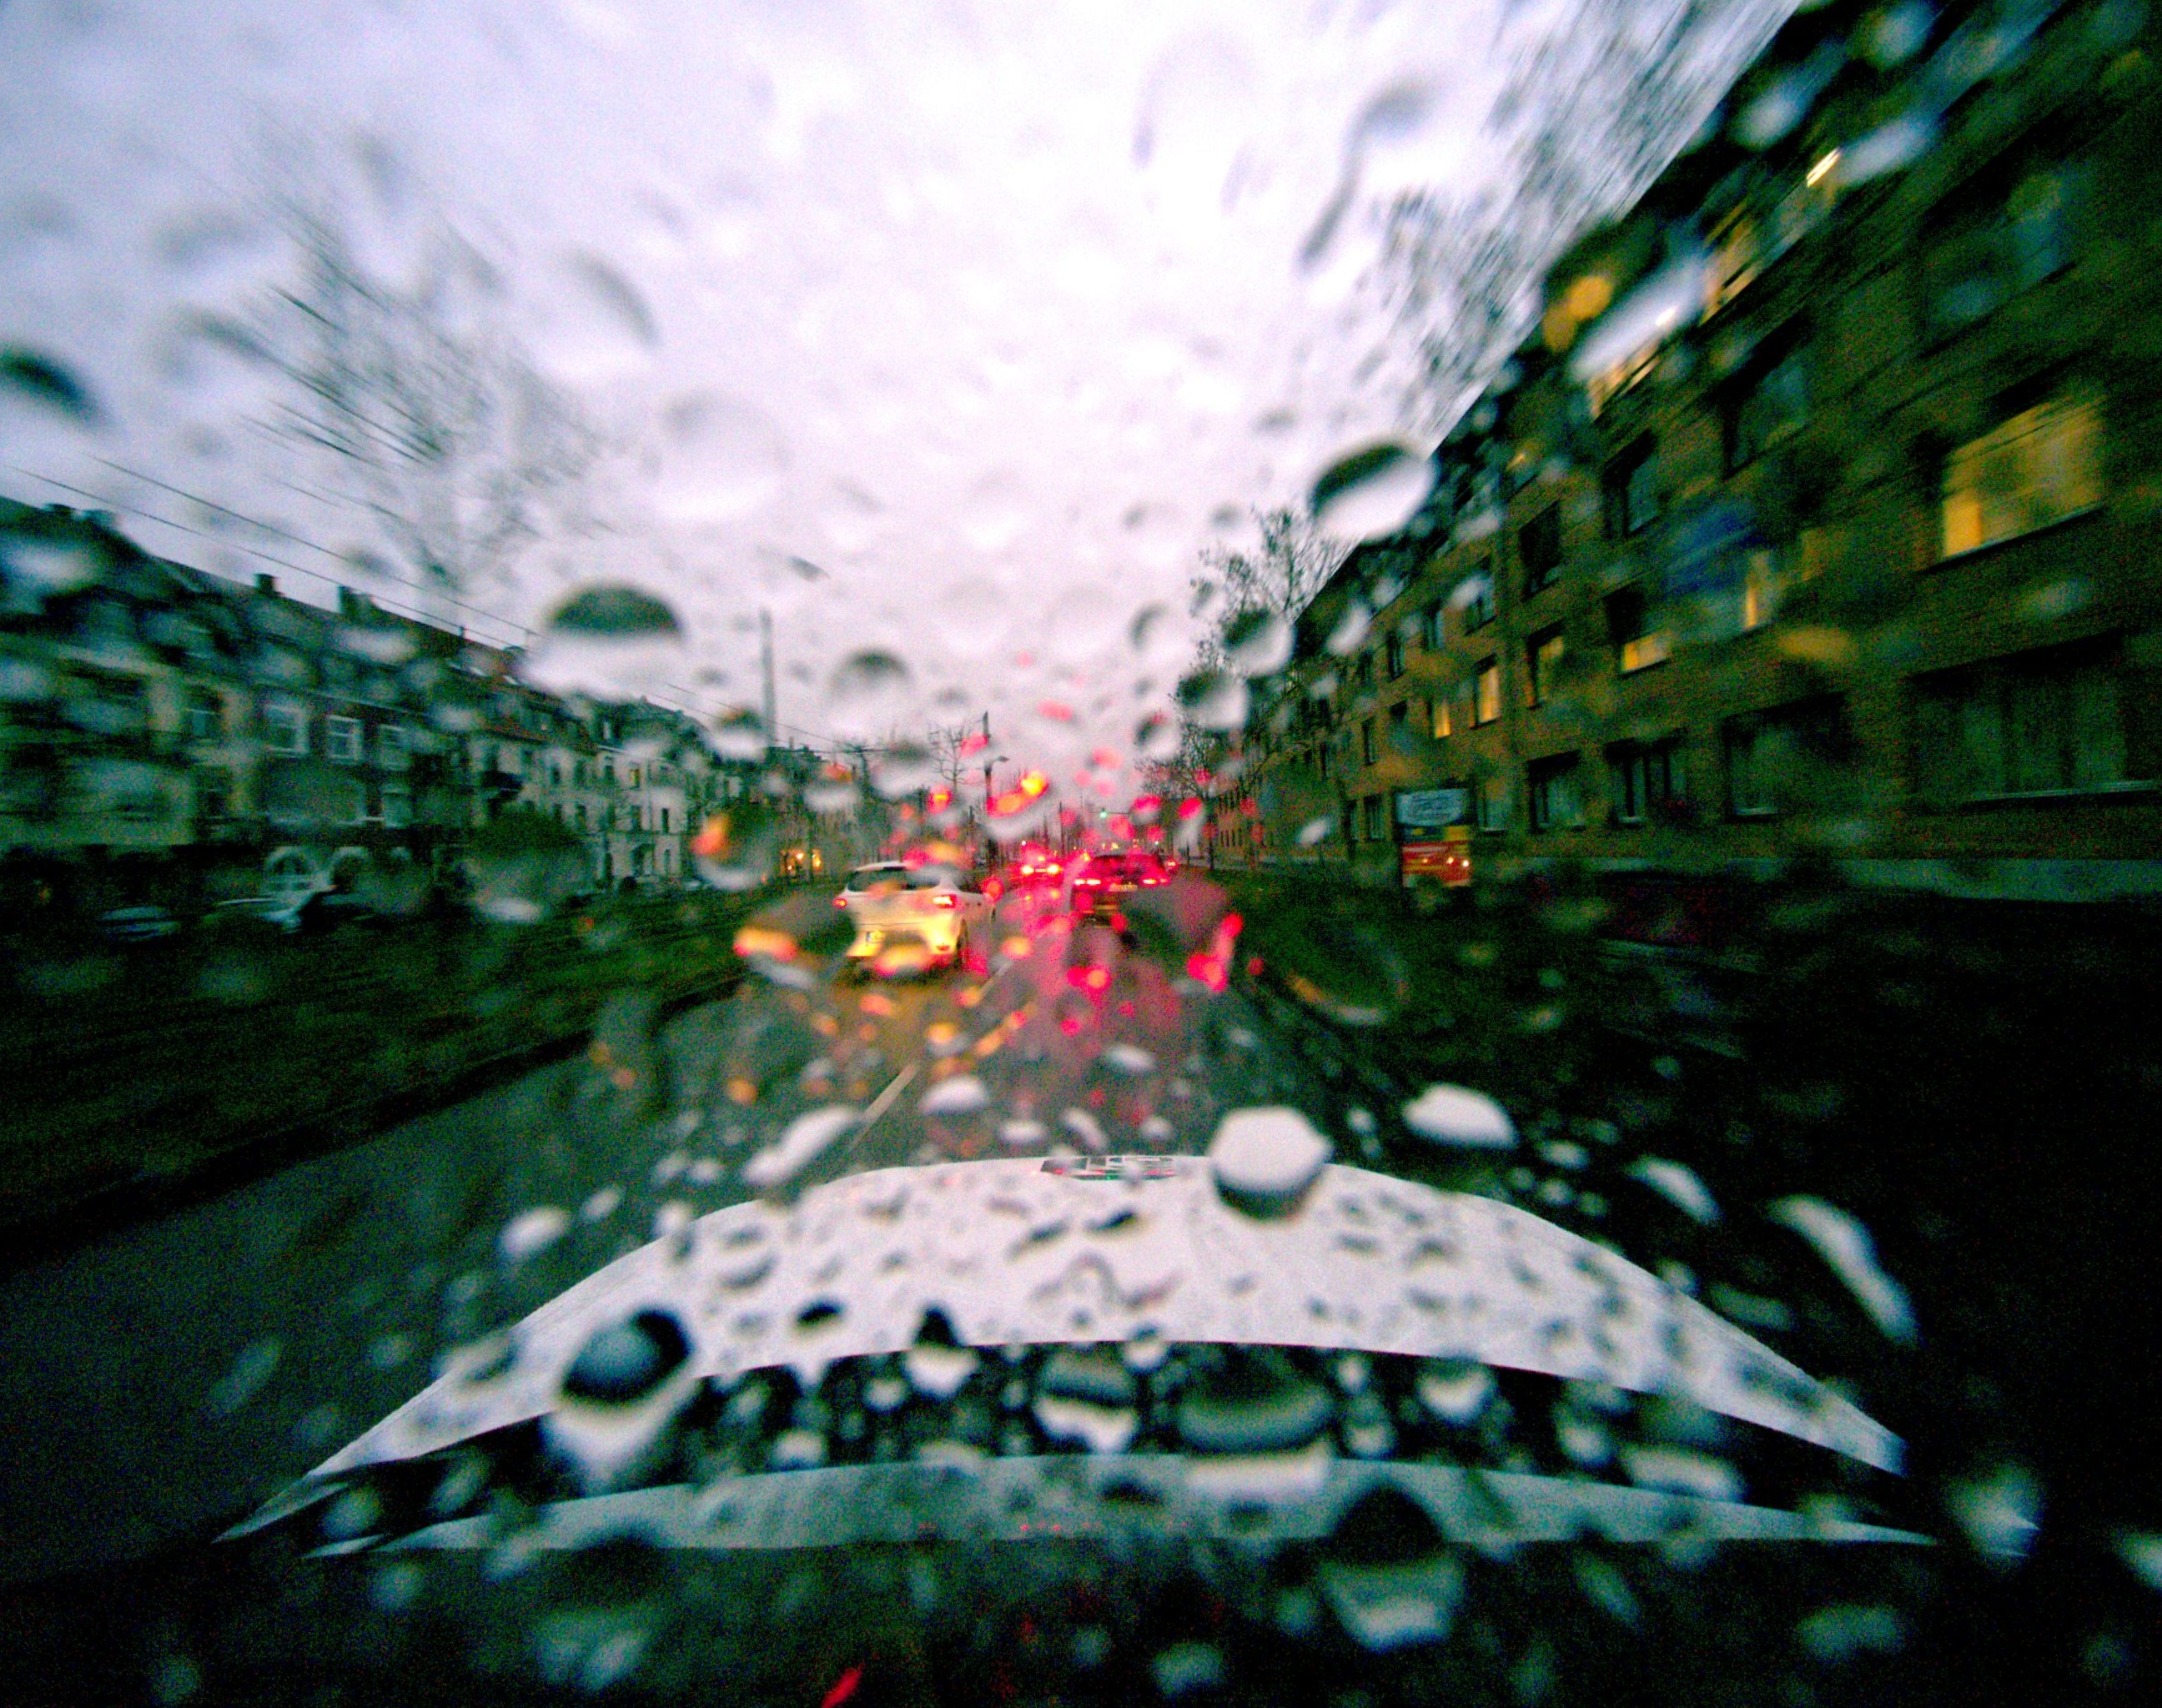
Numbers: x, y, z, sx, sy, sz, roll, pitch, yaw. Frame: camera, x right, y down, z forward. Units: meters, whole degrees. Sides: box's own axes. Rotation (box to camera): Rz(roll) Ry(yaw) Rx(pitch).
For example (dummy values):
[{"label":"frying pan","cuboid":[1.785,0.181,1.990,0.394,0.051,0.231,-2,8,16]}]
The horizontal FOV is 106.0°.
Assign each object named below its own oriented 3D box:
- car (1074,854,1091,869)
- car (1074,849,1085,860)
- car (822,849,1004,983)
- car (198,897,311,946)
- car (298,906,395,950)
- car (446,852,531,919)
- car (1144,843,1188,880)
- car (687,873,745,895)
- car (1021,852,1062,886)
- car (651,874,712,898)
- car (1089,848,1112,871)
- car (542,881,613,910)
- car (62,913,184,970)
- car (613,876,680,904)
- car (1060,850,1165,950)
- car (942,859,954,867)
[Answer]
[{"label":"car","cuboid":[0.214,0.944,103.352,1.933,1.837,4.003,-3,0,3]},{"label":"car","cuboid":[-0.305,0.052,155.028,1.809,2.013,4.003,-3,0,3]},{"label":"car","cuboid":[-2.270,0.767,12.078,1.665,1.600,4.055,-2,0,2]},{"label":"car","cuboid":[-27.256,2.205,26.822,3.948,1.332,2.013,-3,0,36]},{"label":"car","cuboid":[-27.086,2.677,30.015,3.948,1.332,2.013,-3,0,39]},{"label":"car","cuboid":[-27.184,1.454,37.278,5.792,2.797,2.012,-3,0,43]},{"label":"car","cuboid":[4.446,0.372,43.190,1.986,1.744,4.002,-3,0,2]},{"label":"car","cuboid":[-25.364,2.102,56.562,3.948,1.332,2.013,-3,0,39]},{"label":"car","cuboid":[-1.969,0.712,41.548,1.665,1.600,4.055,-2,0,2]},{"label":"car","cuboid":[-26.032,2.096,53.047,3.948,1.332,2.013,-3,0,39]},{"label":"car","cuboid":[1.516,0.414,62.089,1.665,1.600,4.055,-2,0,2]},{"label":"car","cuboid":[-26.912,2.231,43.486,3.948,1.332,2.013,-3,0,39]},{"label":"car","cuboid":[-27.601,2.452,23.446,3.948,1.332,2.013,-3,0,37]},{"label":"car","cuboid":[-26.674,2.192,49.959,3.948,1.486,2.013,-3,0,36]},{"label":"car","cuboid":[0.590,0.753,15.441,1.665,1.600,4.055,-2,0,2]},{"label":"car","cuboid":[-25.978,1.729,159.185,1.770,1.354,3.557,-3,0,1]}]
